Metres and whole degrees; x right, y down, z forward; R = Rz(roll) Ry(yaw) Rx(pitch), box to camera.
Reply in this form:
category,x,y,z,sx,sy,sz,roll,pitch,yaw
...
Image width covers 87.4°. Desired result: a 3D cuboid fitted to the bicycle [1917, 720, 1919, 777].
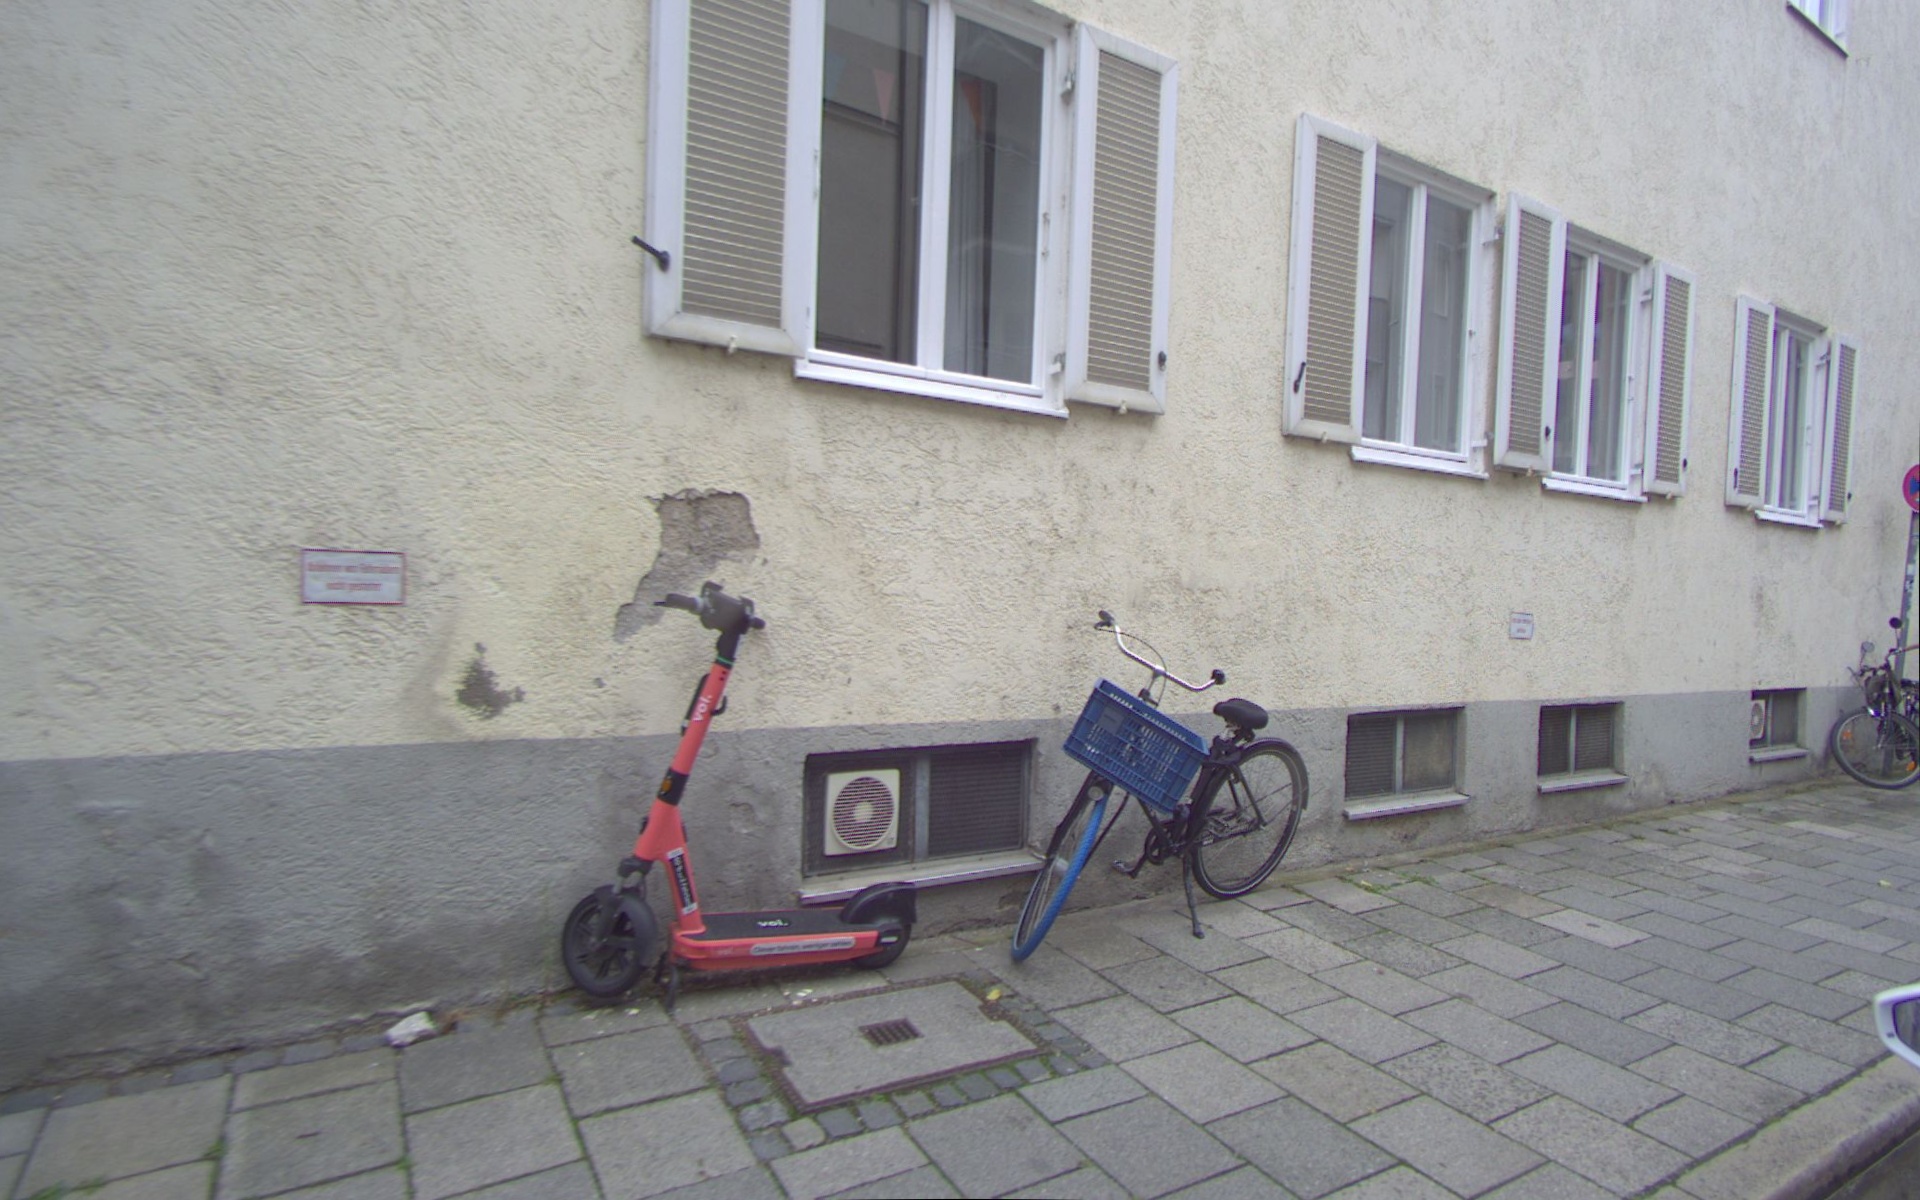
category,x,y,z,sx,sy,sz,roll,pitch,yaw
bicycle,9.248,0.995,9.086,1.705,1.175,0.557,2,1,-37

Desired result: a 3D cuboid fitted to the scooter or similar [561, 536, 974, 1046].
category,x,y,z,sx,sy,sz,roll,pitch,yaw
scooter or similar,-0.574,0.539,3.200,1.225,1.394,0.315,2,0,-32

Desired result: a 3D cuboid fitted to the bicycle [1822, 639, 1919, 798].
category,x,y,z,sx,sy,sz,roll,pitch,yaw
bicycle,7.766,0.940,8.261,1.587,1.175,0.455,2,3,-31

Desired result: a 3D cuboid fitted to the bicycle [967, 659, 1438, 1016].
category,x,y,z,sx,sy,sz,roll,pitch,yaw
bicycle,0.992,0.785,3.905,1.805,0.997,0.699,2,5,-36
